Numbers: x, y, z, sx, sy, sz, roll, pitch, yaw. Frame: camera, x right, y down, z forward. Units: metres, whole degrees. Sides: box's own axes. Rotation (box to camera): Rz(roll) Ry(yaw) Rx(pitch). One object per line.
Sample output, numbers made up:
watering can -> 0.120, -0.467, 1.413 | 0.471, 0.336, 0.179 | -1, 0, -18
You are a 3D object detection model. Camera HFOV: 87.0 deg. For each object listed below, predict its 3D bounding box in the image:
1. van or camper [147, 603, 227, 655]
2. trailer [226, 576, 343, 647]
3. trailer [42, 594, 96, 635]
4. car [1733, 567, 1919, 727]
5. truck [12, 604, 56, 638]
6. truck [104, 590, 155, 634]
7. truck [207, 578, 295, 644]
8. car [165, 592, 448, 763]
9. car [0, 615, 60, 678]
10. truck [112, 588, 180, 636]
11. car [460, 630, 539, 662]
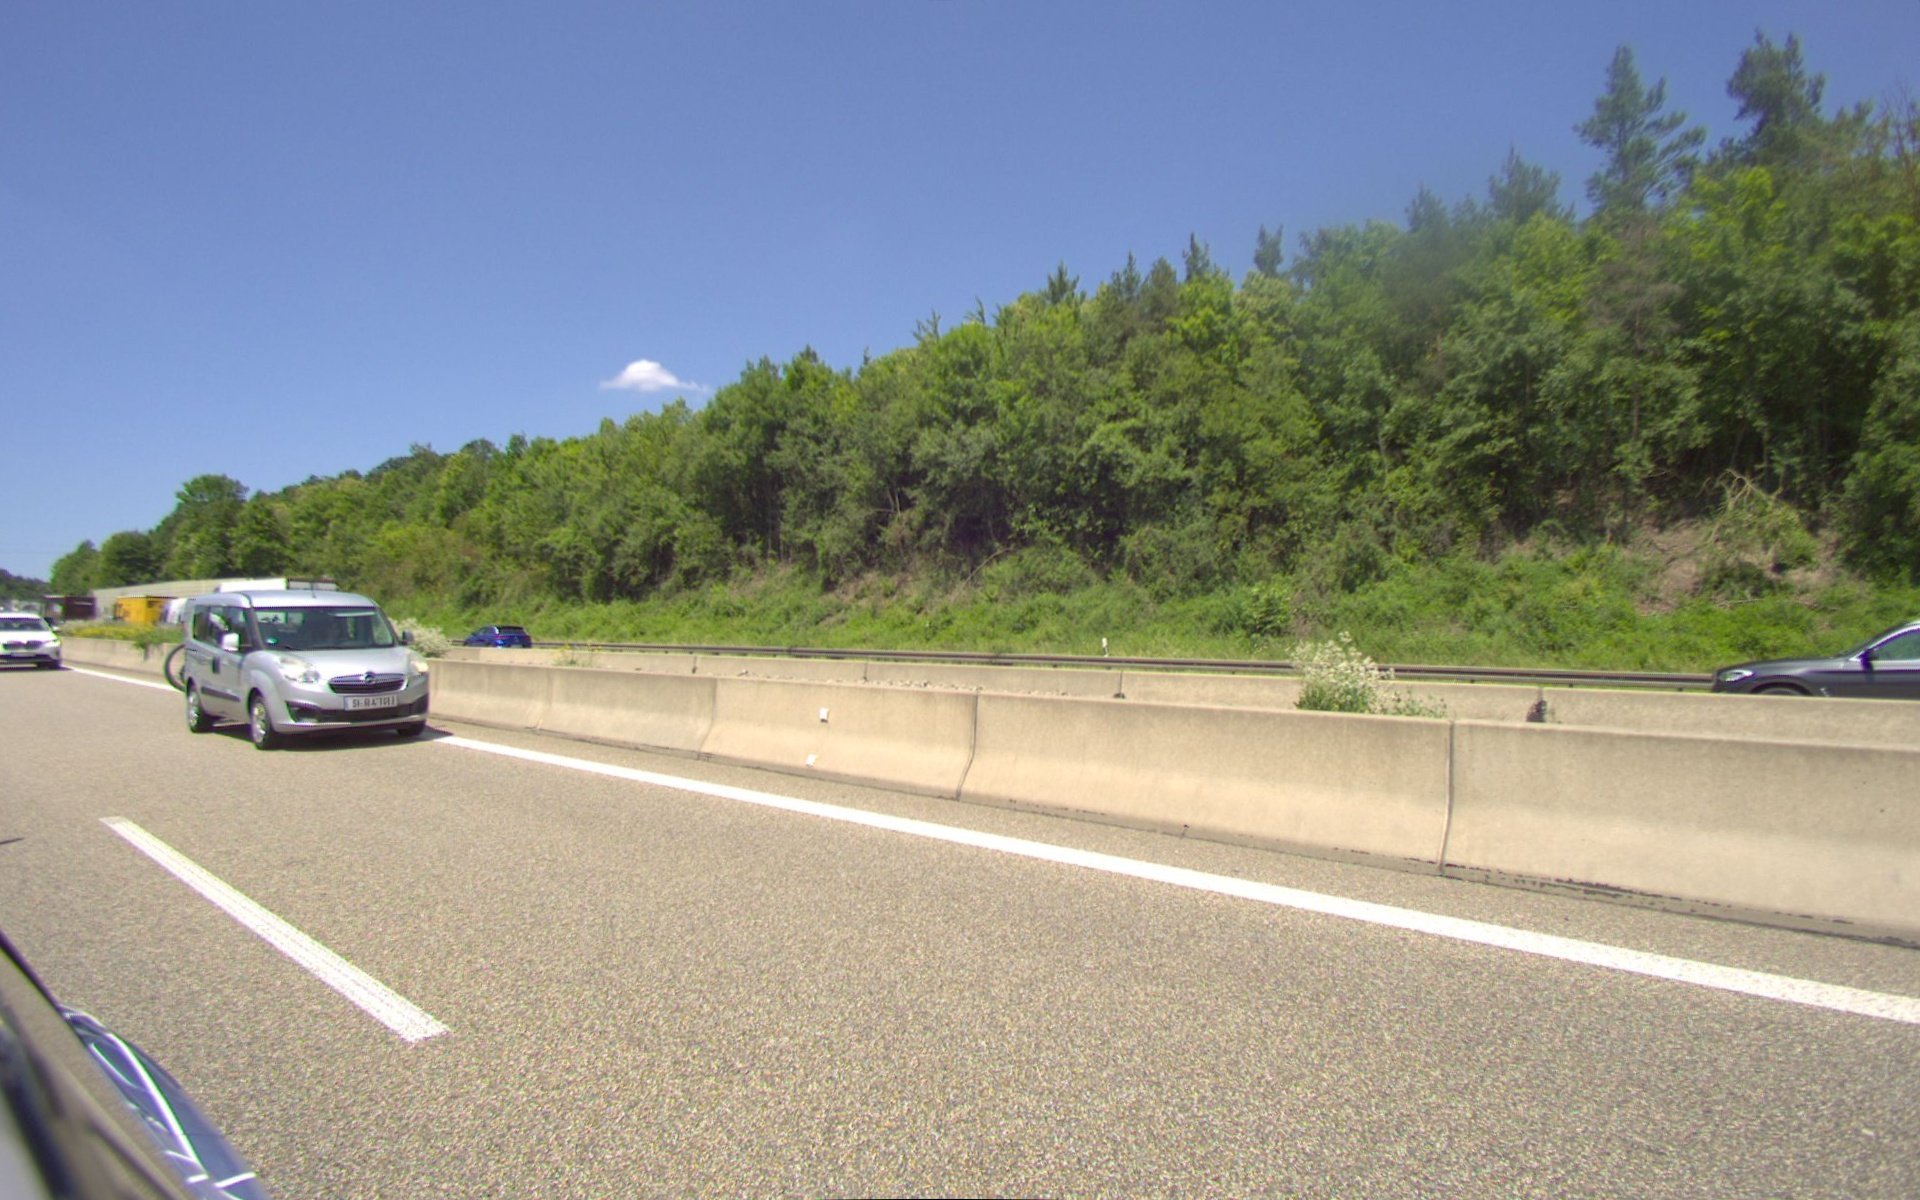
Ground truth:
van or camper -> -45.832, 1.633, 59.920 | 6.707, 2.898, 2.370 | 0, 0, 40
trailer -> -40.458, 0.653, 60.354 | 11.395, 3.901, 2.966 | 0, 0, 41
trailer -> -95.743, 1.503, 108.678 | 7.893, 4.226, 3.399 | 0, 0, 41
car -> 13.070, 0.589, 13.398 | 4.473, 2.029, 2.093 | 0, 0, 39
truck -> -133.541, 3.050, 145.893 | 14.093, 4.580, 3.235 | -2, -1, 42
truck -> -88.332, 1.218, 107.612 | 7.091, 4.579, 3.059 | 0, 0, 41
truck -> -45.207, 0.662, 64.465 | 7.212, 3.949, 2.909 | 0, 0, 41
car -> -8.499, 0.817, 12.948 | 4.917, 1.786, 1.833 | 0, 0, 42
car -> -28.049, 1.328, 29.825 | 3.998, 1.719, 1.800 | 0, 0, 41
truck -> -82.684, 1.184, 102.603 | 14.094, 4.579, 3.059 | 0, 0, 42
car -> -21.188, 2.084, 46.481 | 4.001, 1.344, 1.971 | -1, -2, 44
